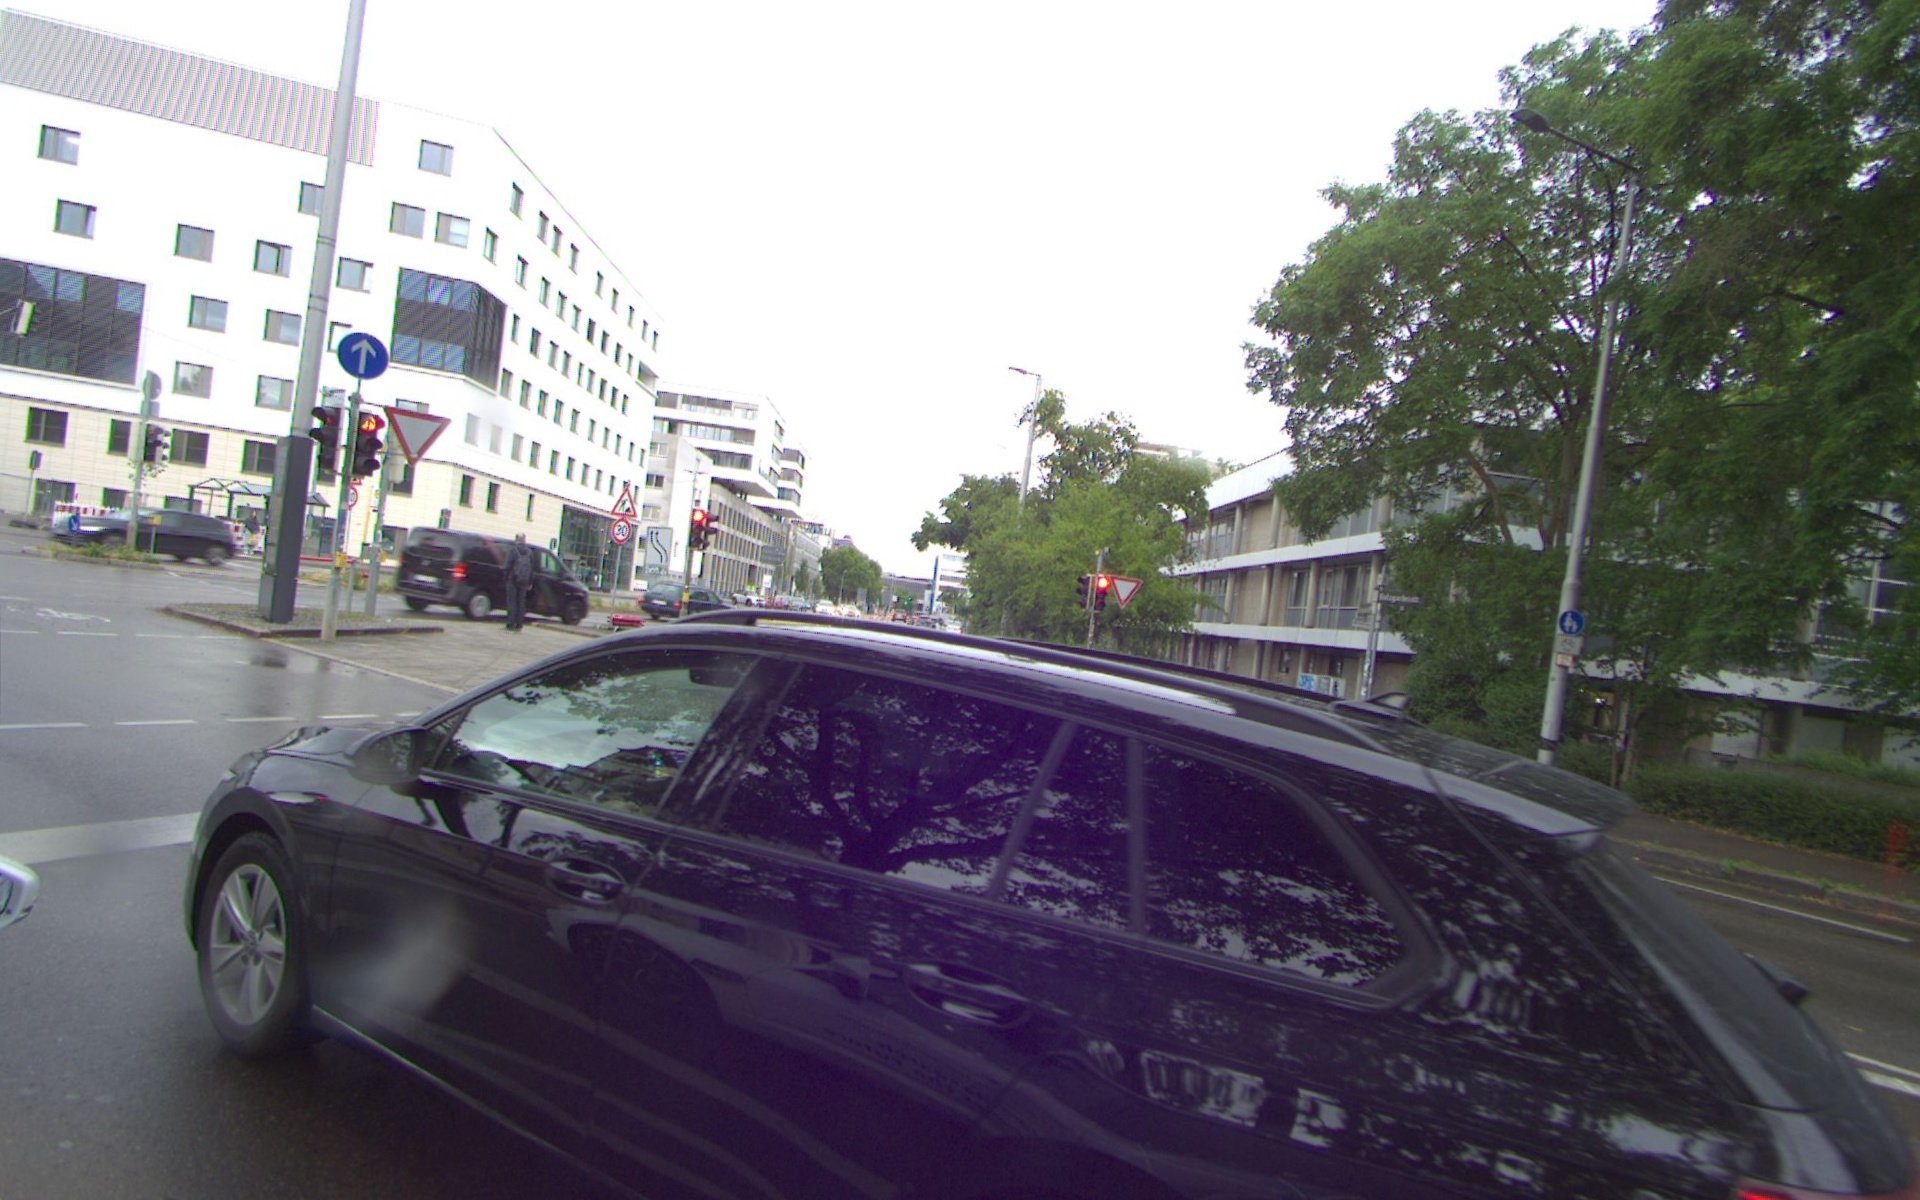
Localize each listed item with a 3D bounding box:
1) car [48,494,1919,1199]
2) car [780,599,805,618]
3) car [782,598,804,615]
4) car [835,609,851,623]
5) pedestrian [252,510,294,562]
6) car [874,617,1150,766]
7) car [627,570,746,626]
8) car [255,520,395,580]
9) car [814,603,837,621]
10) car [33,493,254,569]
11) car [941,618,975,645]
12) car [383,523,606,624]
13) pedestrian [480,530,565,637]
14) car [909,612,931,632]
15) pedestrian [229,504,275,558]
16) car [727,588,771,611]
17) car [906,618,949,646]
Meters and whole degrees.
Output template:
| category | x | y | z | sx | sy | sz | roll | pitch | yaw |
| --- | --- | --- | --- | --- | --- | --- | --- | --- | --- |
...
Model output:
| category | x | y | z | sx | sy | sz | roll | pitch | yaw |
| --- | --- | --- | --- | --- | --- | --- | --- | --- | --- |
| car | -0.460 | 0.748 | 2.799 | 4.435 | 1.483 | 1.674 | 8 | 0 | 29 |
| car | -15.295 | 0.752 | 92.044 | 1.966 | 1.394 | 4.382 | 8 | -1 | -8 |
| car | -16.600 | 0.650 | 100.103 | 1.966 | 1.394 | 4.382 | 8 | -1 | -8 |
| car | -17.740 | 2.431 | 152.500 | 1.966 | 1.684 | 4.382 | 8 | -1 | -8 |
| pedestrian | -27.871 | -2.601 | 40.796 | 0.941 | 1.957 | 1.001 | 6 | -2 | 41 |
| car | 0.591 | 1.239 | 14.537 | 1.851 | 1.467 | 3.964 | 9 | -1 | -34 |
| car | -10.224 | -0.007 | 38.088 | 1.962 | 1.693 | 4.973 | 7 | -1 | 15 |
| car | -23.074 | -1.769 | 36.744 | 1.764 | 1.460 | 4.005 | 8 | -2 | 17 |
| car | -13.097 | 1.145 | 97.647 | 1.966 | 1.394 | 4.382 | 8 | -1 | -8 |
| car | -23.026 | -1.897 | 28.581 | 1.964 | 1.394 | 4.387 | 8 | -1 | 25 |
| car | -0.128 | 2.491 | 78.173 | 1.832 | 1.669 | 4.784 | 7 | -3 | 9 |
| car | -10.771 | -0.515 | 23.745 | 1.962 | 1.831 | 4.789 | 8 | 0 | 16 |
| pedestrian | -8.491 | -0.316 | 19.547 | 1.009 | 1.913 | 0.830 | 6 | -2 | 23 |
| car | -3.937 | 2.199 | 99.281 | 1.835 | 1.670 | 4.776 | 7 | -2 | -4 |
| pedestrian | -27.035 | -2.623 | 38.445 | 0.808 | 1.861 | 0.955 | 6 | -2 | 20 |
| car | -20.861 | -0.038 | 99.411 | 4.002 | 1.575 | 1.962 | 8 | -2 | 38 |
| car | -1.997 | 2.061 | 63.594 | 1.832 | 1.437 | 4.006 | 7 | -3 | 9 |
